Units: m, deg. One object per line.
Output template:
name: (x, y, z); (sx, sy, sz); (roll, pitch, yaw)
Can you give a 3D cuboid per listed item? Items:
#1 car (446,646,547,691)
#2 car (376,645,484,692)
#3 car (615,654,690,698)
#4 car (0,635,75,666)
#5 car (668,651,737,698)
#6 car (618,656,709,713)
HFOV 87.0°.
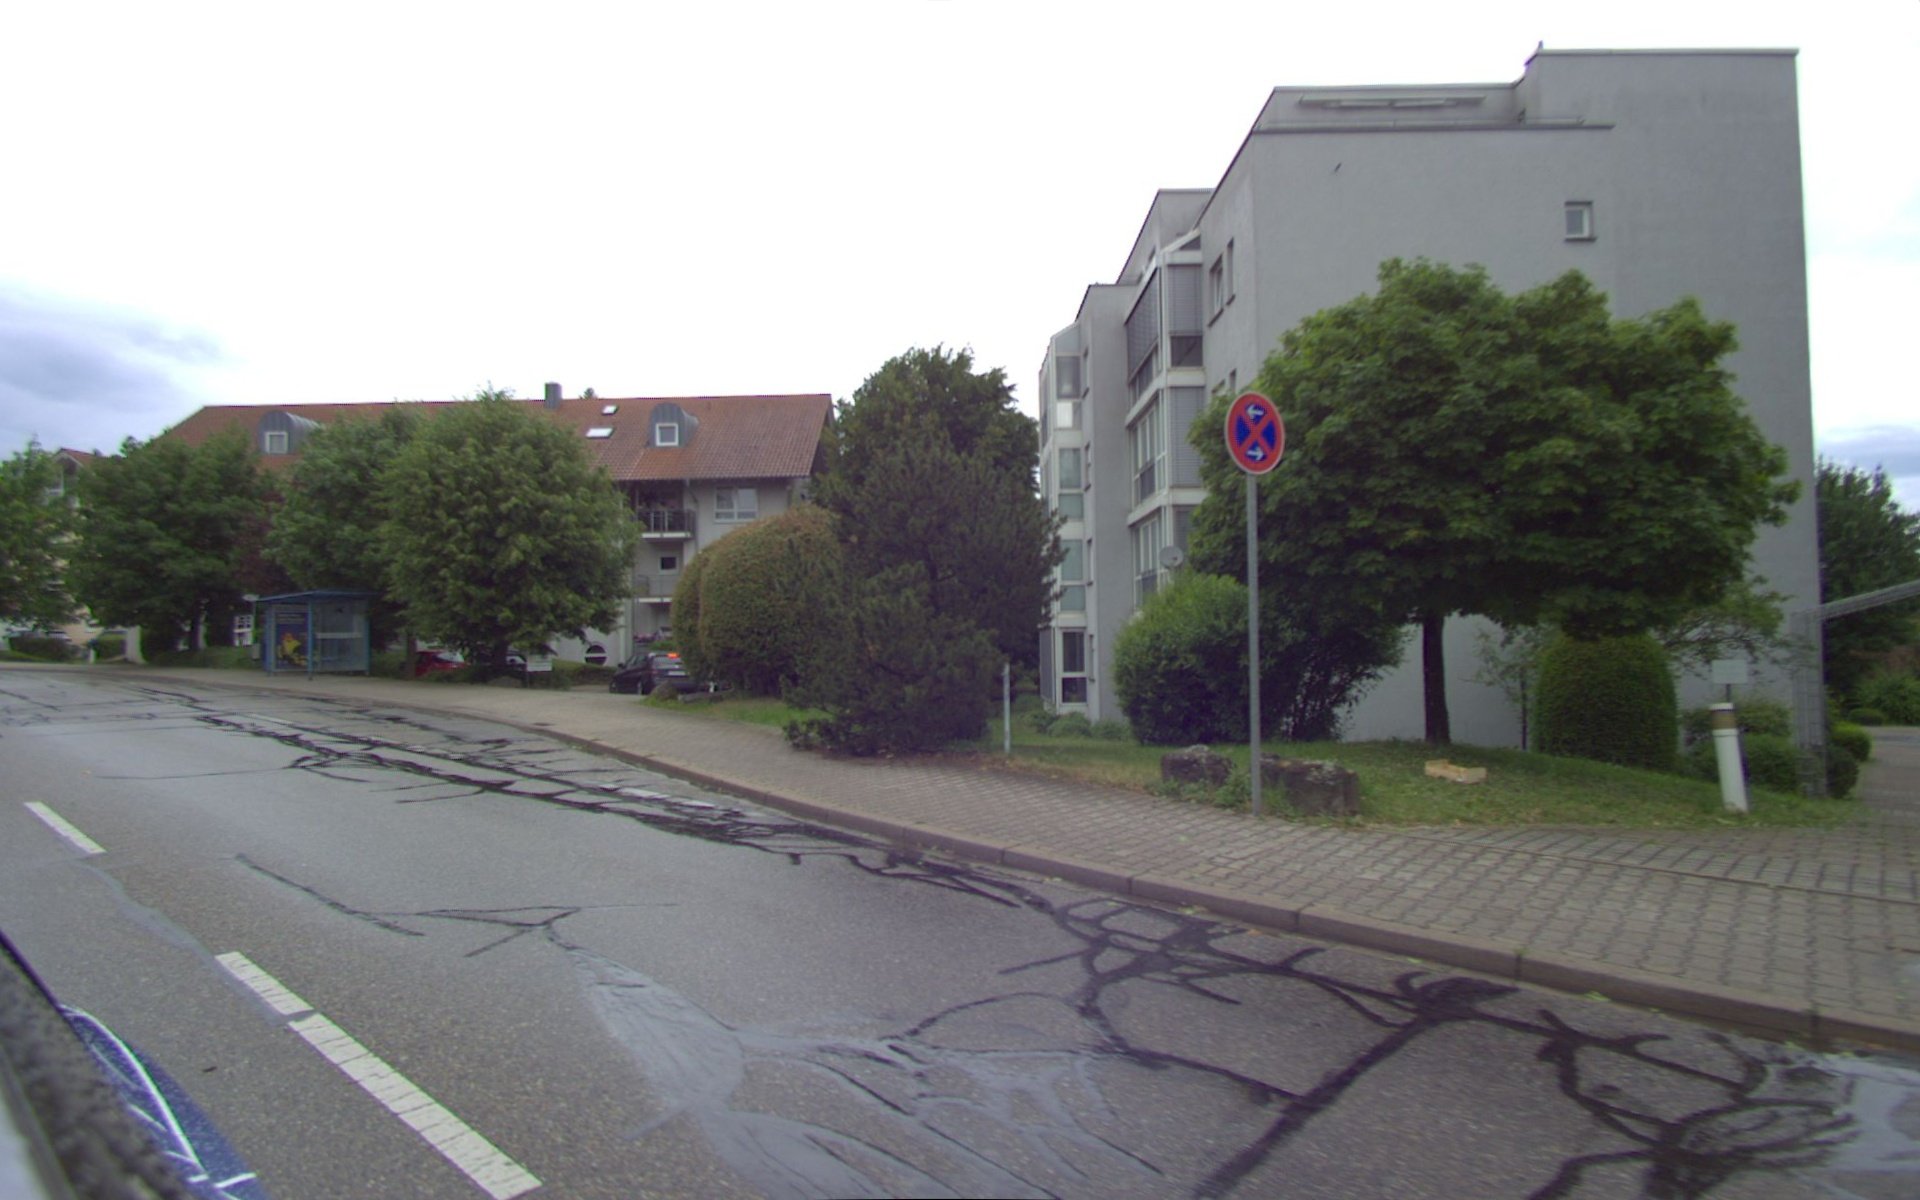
car: (-17.075, 2.467, 37.216); (3.991, 1.475, 1.596); (-1, -1, 35)
car: (-18.516, 2.354, 35.322); (3.991, 1.475, 1.753); (-1, -1, 35)
car: (-11.501, 2.821, 38.029); (1.648, 1.405, 3.428); (-1, -1, 3)
car: (-50.356, 2.720, 54.459); (3.944, 1.614, 1.738); (0, -2, 0)
car: (-9.263, 2.651, 36.639); (1.646, 1.443, 3.717); (0, -1, -2)
car: (-9.171, 2.636, 31.047); (1.965, 1.432, 4.179); (-1, -7, -26)
